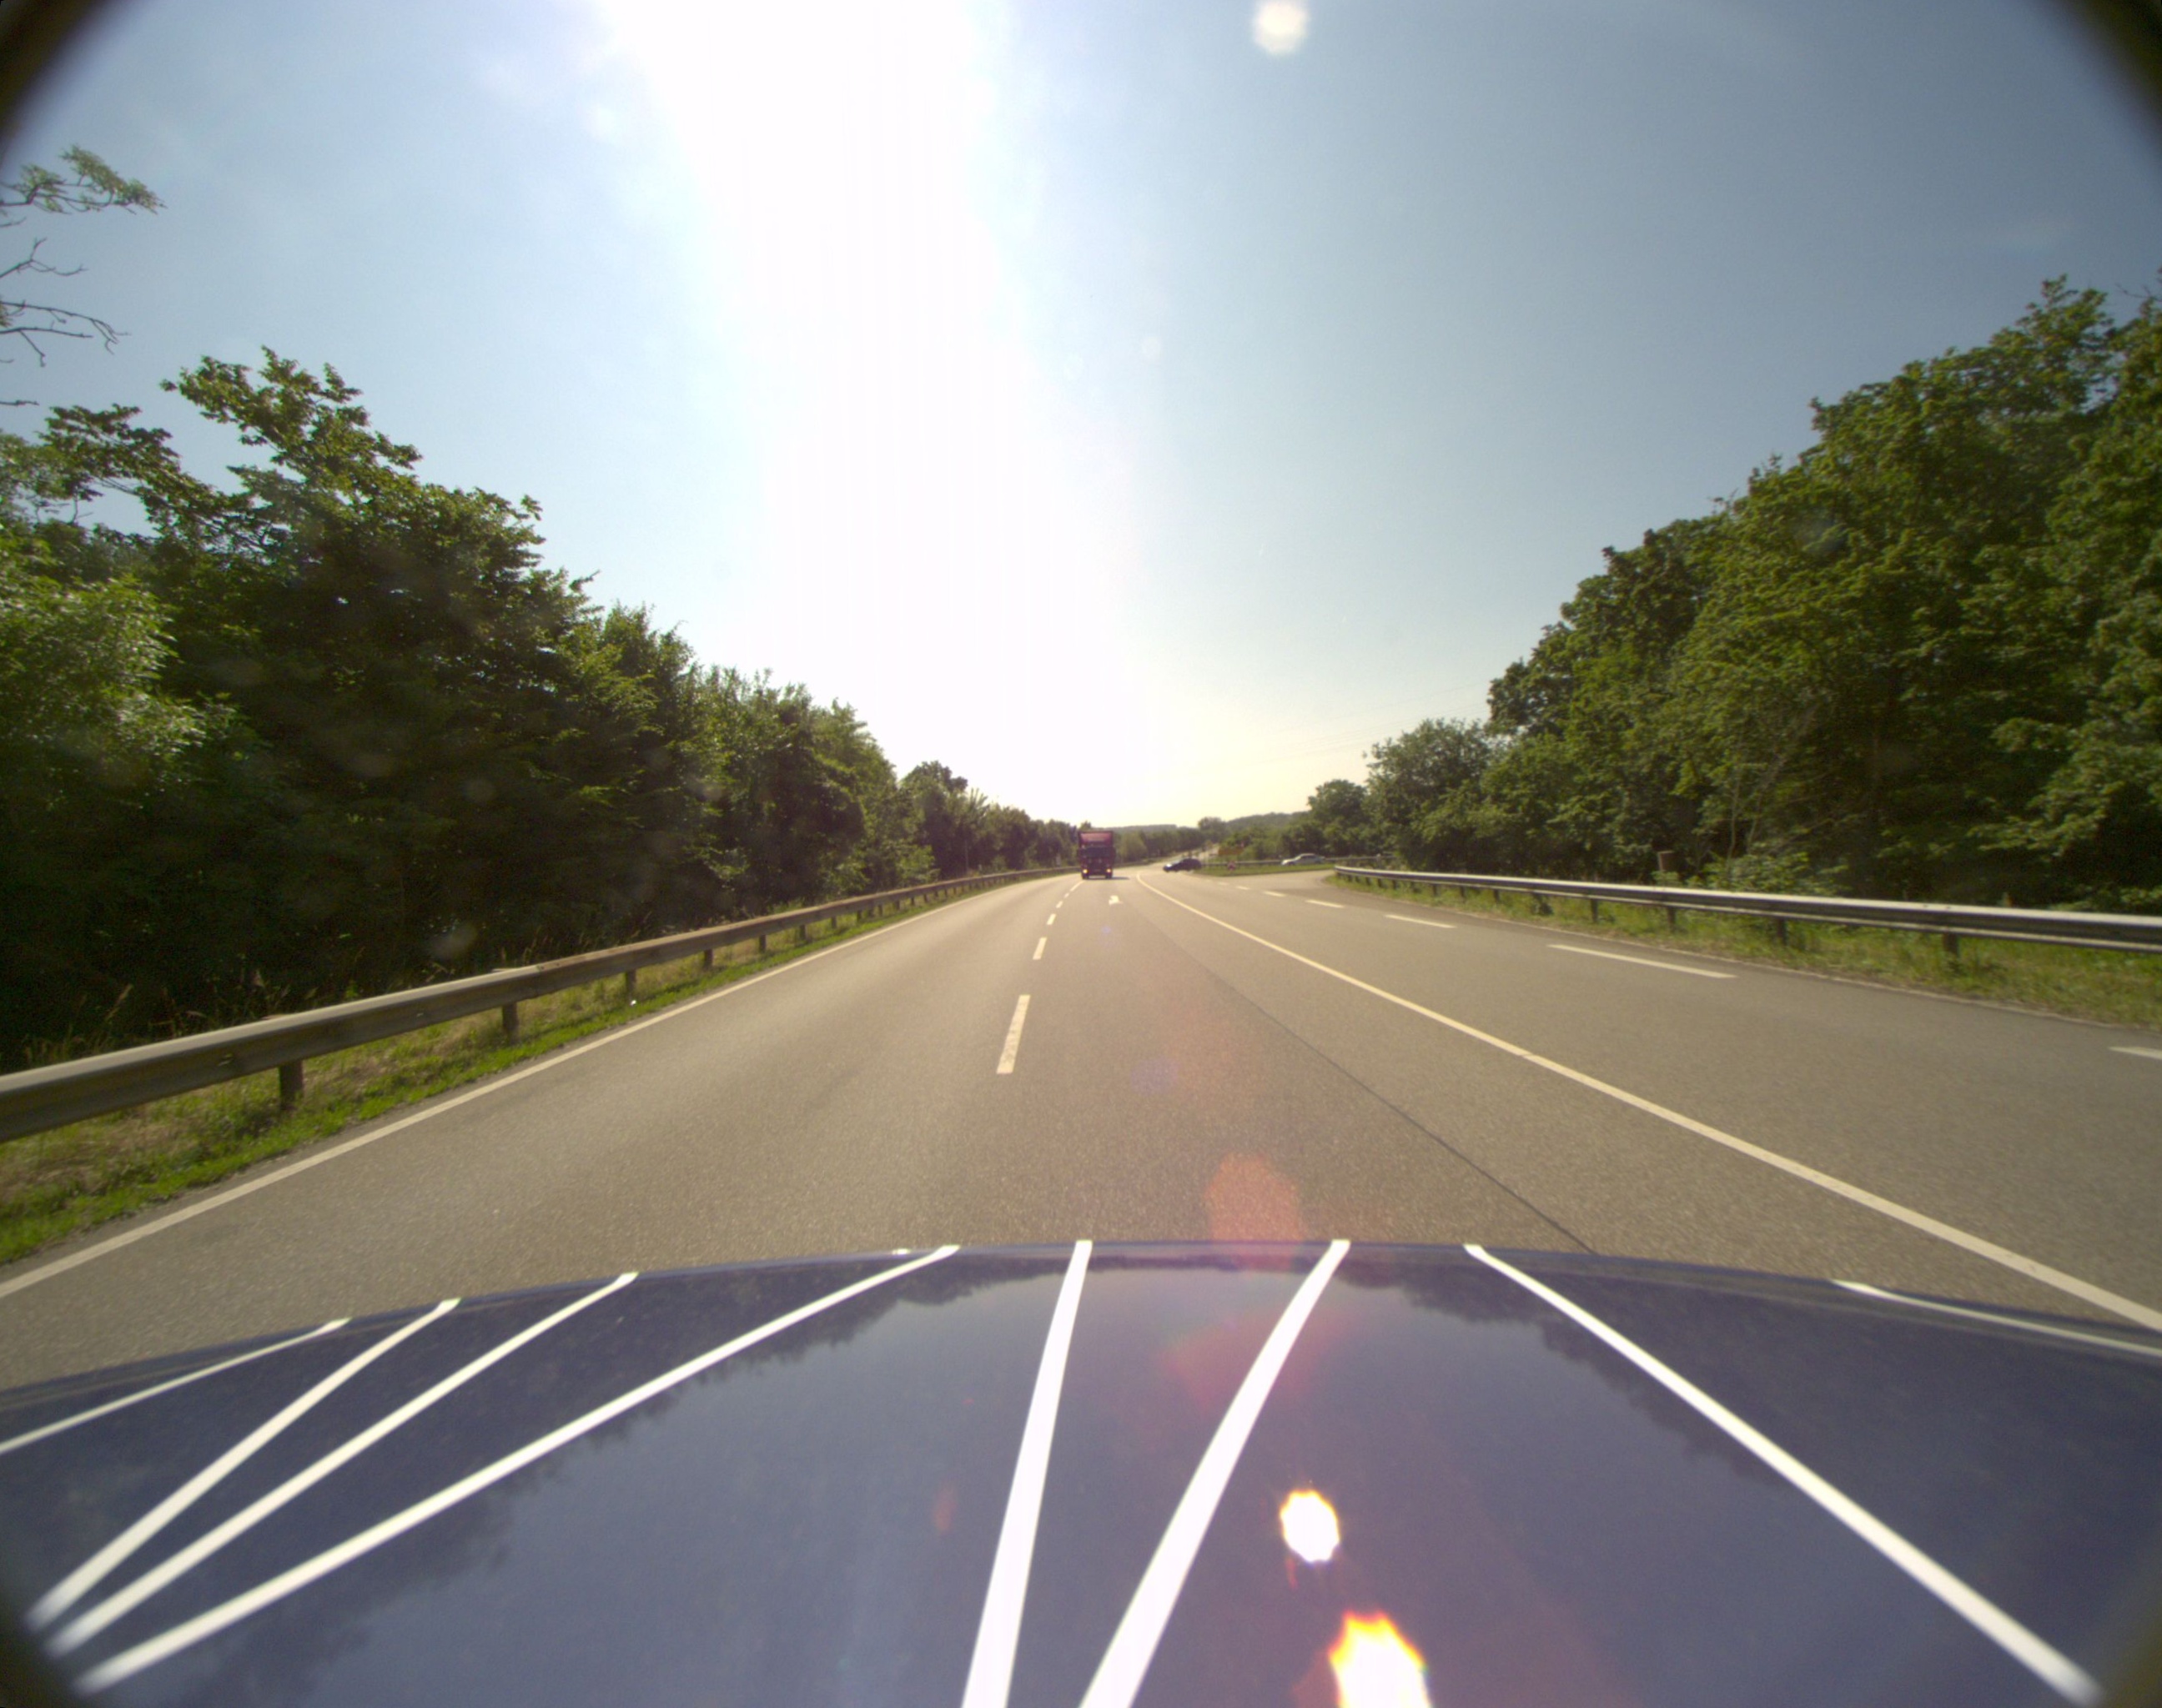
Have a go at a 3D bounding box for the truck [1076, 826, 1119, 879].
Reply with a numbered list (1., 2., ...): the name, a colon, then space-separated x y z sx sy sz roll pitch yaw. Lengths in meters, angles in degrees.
1. truck: 1.414 -0.115 58.337 2.688 3.640 9.265 -2 0 4

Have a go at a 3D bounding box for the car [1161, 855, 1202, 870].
1. car: 10.507 0.887 79.369 4.006 1.406 1.785 -2 0 -29

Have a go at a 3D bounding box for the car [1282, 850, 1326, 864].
1. car: 23.959 0.300 81.726 4.371 1.377 1.790 -2 0 10
